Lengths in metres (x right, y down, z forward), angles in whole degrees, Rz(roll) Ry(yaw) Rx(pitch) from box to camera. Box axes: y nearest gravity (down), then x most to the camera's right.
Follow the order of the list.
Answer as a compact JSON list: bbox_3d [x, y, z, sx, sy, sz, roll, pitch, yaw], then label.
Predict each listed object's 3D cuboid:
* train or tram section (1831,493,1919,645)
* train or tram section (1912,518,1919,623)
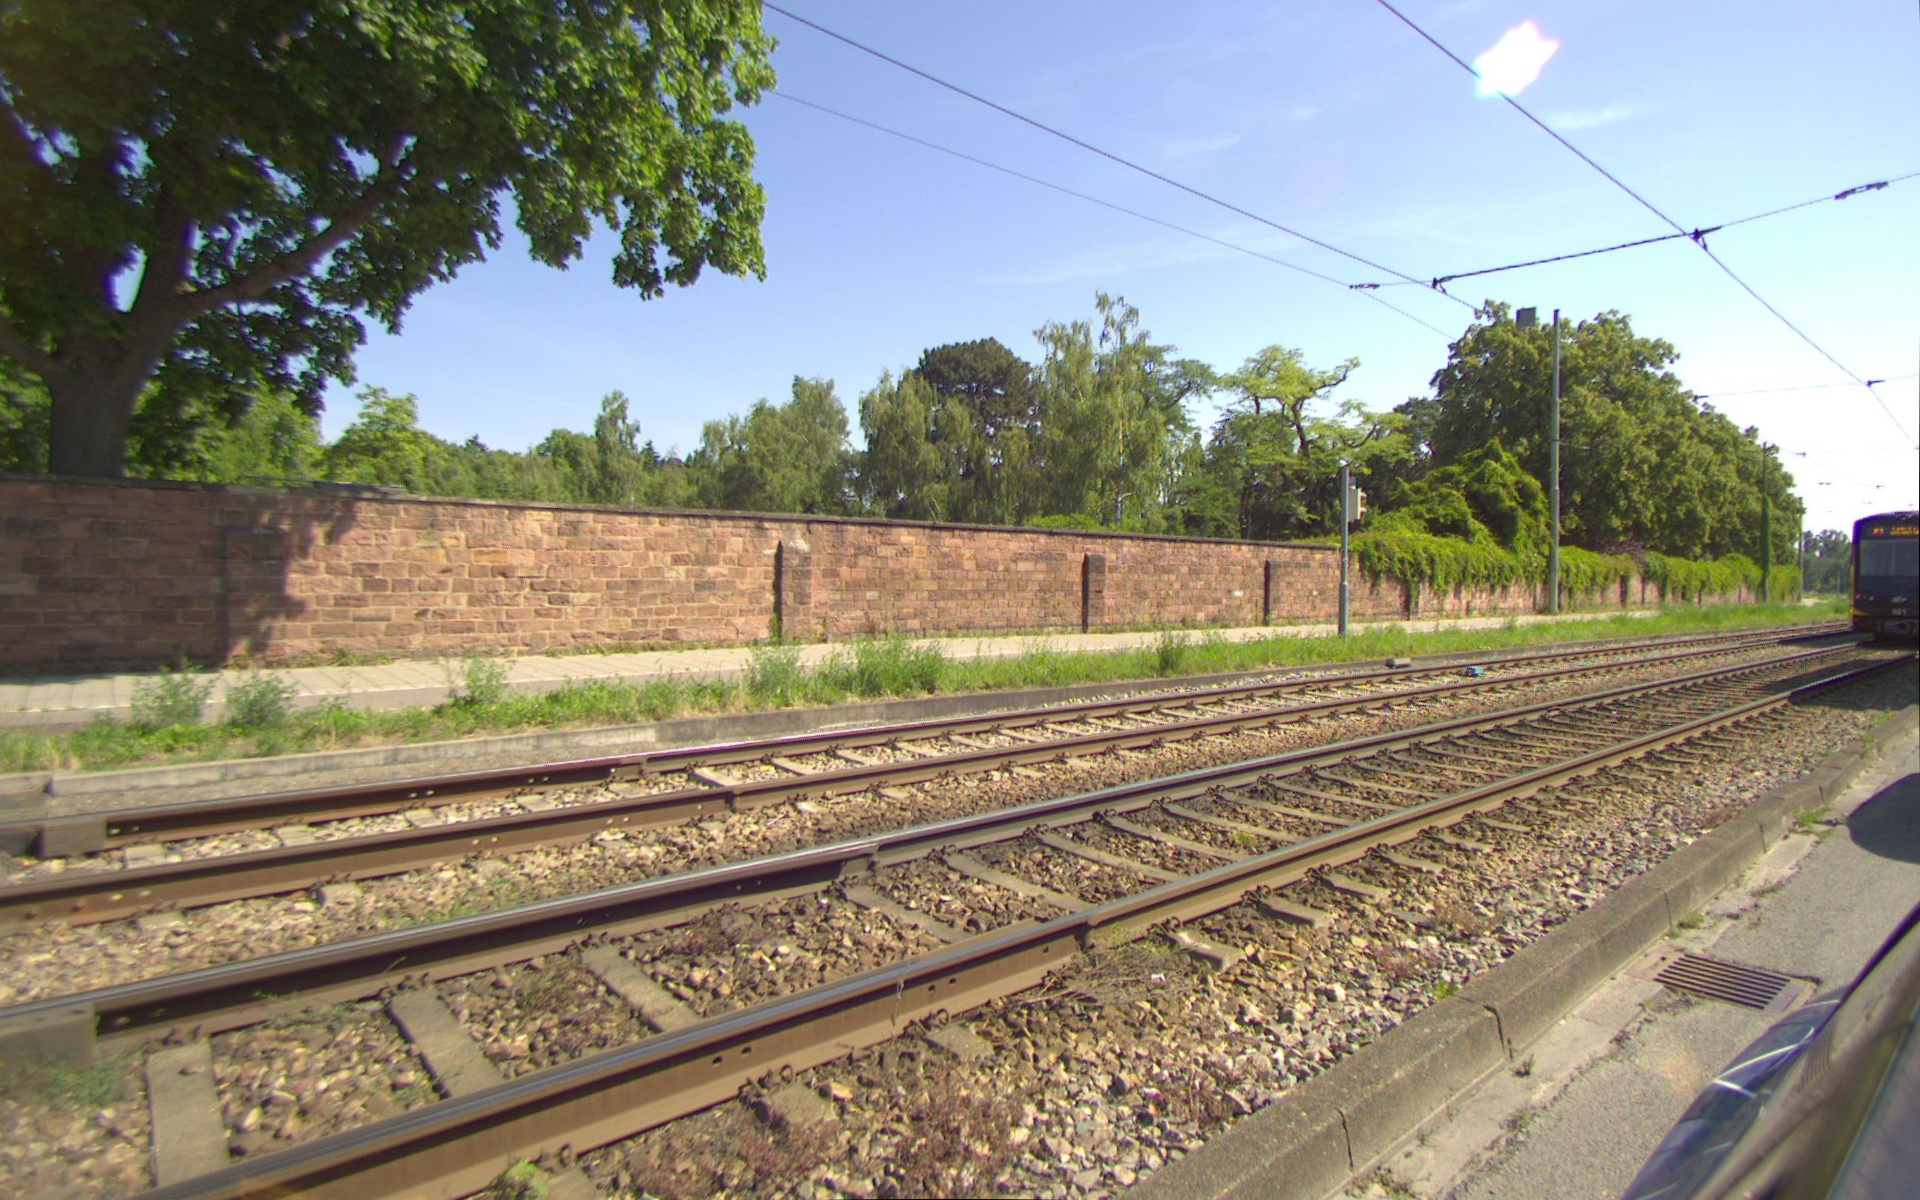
[{"bbox_3d":[28.763,-0.886,29.709,15.040,3.698,2.674,-1,0,-41],"label":"train or tram section"},{"bbox_3d":[41.393,-1.213,40.795,18.631,3.698,2.677,-1,0,-41],"label":"train or tram section"}]
